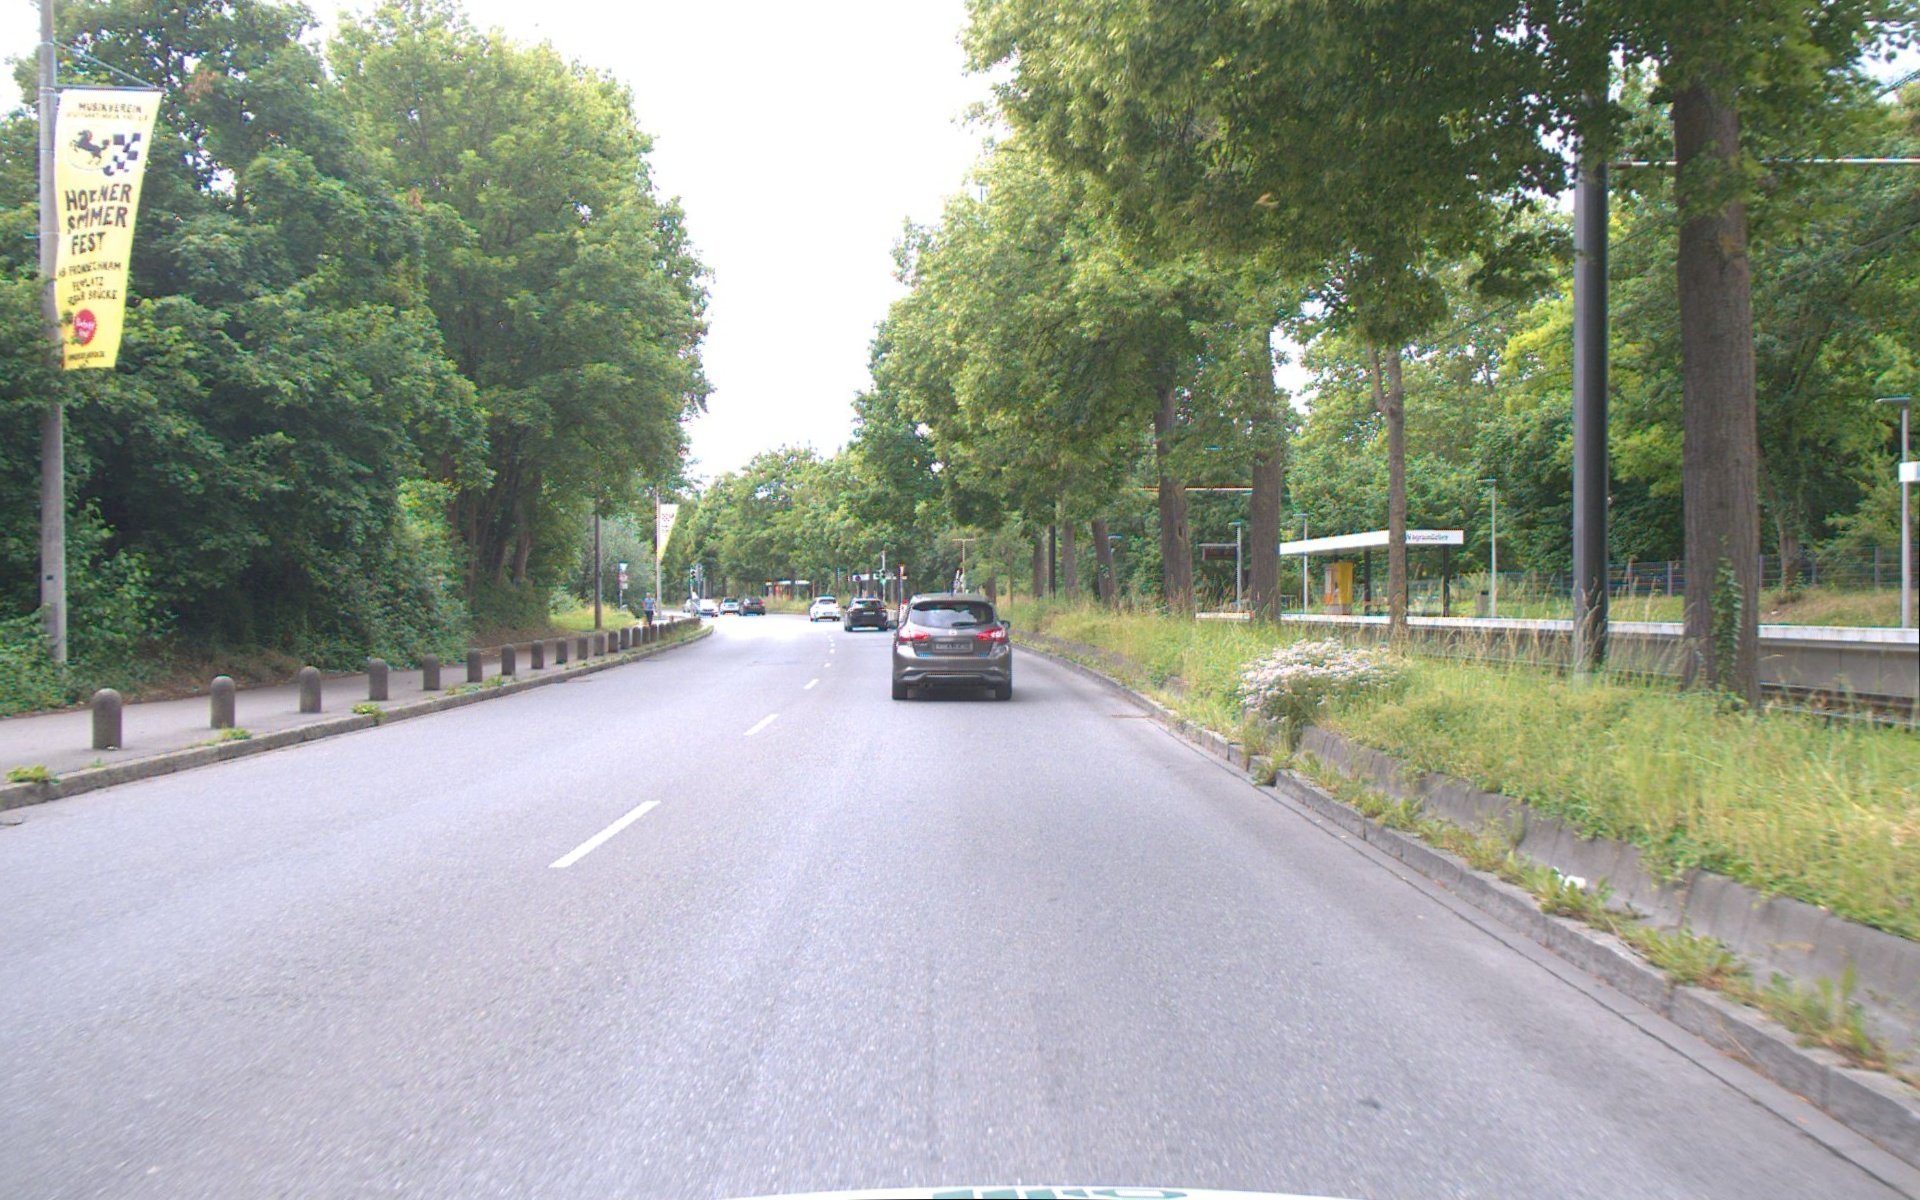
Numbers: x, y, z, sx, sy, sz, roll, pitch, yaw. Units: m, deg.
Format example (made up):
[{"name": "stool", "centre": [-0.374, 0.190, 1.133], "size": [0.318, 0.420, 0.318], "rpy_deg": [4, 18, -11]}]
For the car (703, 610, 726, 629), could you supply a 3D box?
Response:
[{"name": "car", "centre": [-20.719, 1.629, 139.763], "size": [1.740, 1.464, 4.354], "rpy_deg": [-2, 0, -8]}]

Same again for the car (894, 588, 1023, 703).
[{"name": "car", "centre": [-0.065, 0.619, 25.186], "size": [1.779, 1.534, 3.999], "rpy_deg": [-1, 1, -1]}]

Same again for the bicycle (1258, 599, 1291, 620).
[{"name": "bicycle", "centre": [14.990, 0.452, 78.907], "size": [1.480, 0.990, 0.449], "rpy_deg": [1, -1, -9]}]

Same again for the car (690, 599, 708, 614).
[{"name": "car", "centre": [-28.135, 0.692, 178.395], "size": [1.742, 1.498, 3.993], "rpy_deg": [1, 0, -7]}]

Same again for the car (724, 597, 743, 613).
[{"name": "car", "centre": [-21.325, 0.446, 155.905], "size": [1.742, 1.498, 3.994], "rpy_deg": [0, 0, -7]}]

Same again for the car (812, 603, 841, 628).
[{"name": "car", "centre": [-8.336, 0.945, 103.326], "size": [1.741, 1.498, 3.996], "rpy_deg": [1, 0, -4]}]

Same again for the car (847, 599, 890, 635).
[{"name": "car", "centre": [-3.954, 0.733, 72.120], "size": [1.740, 1.498, 3.999], "rpy_deg": [1, 0, -2]}]

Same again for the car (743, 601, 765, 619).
[{"name": "car", "centre": [-17.494, 0.817, 140.406], "size": [1.742, 1.498, 3.993], "rpy_deg": [1, 0, -8]}]

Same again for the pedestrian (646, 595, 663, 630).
[{"name": "pedestrian", "centre": [-14.819, 0.605, 80.275], "size": [0.676, 1.663, 0.837], "rpy_deg": [1, -1, -6]}]
